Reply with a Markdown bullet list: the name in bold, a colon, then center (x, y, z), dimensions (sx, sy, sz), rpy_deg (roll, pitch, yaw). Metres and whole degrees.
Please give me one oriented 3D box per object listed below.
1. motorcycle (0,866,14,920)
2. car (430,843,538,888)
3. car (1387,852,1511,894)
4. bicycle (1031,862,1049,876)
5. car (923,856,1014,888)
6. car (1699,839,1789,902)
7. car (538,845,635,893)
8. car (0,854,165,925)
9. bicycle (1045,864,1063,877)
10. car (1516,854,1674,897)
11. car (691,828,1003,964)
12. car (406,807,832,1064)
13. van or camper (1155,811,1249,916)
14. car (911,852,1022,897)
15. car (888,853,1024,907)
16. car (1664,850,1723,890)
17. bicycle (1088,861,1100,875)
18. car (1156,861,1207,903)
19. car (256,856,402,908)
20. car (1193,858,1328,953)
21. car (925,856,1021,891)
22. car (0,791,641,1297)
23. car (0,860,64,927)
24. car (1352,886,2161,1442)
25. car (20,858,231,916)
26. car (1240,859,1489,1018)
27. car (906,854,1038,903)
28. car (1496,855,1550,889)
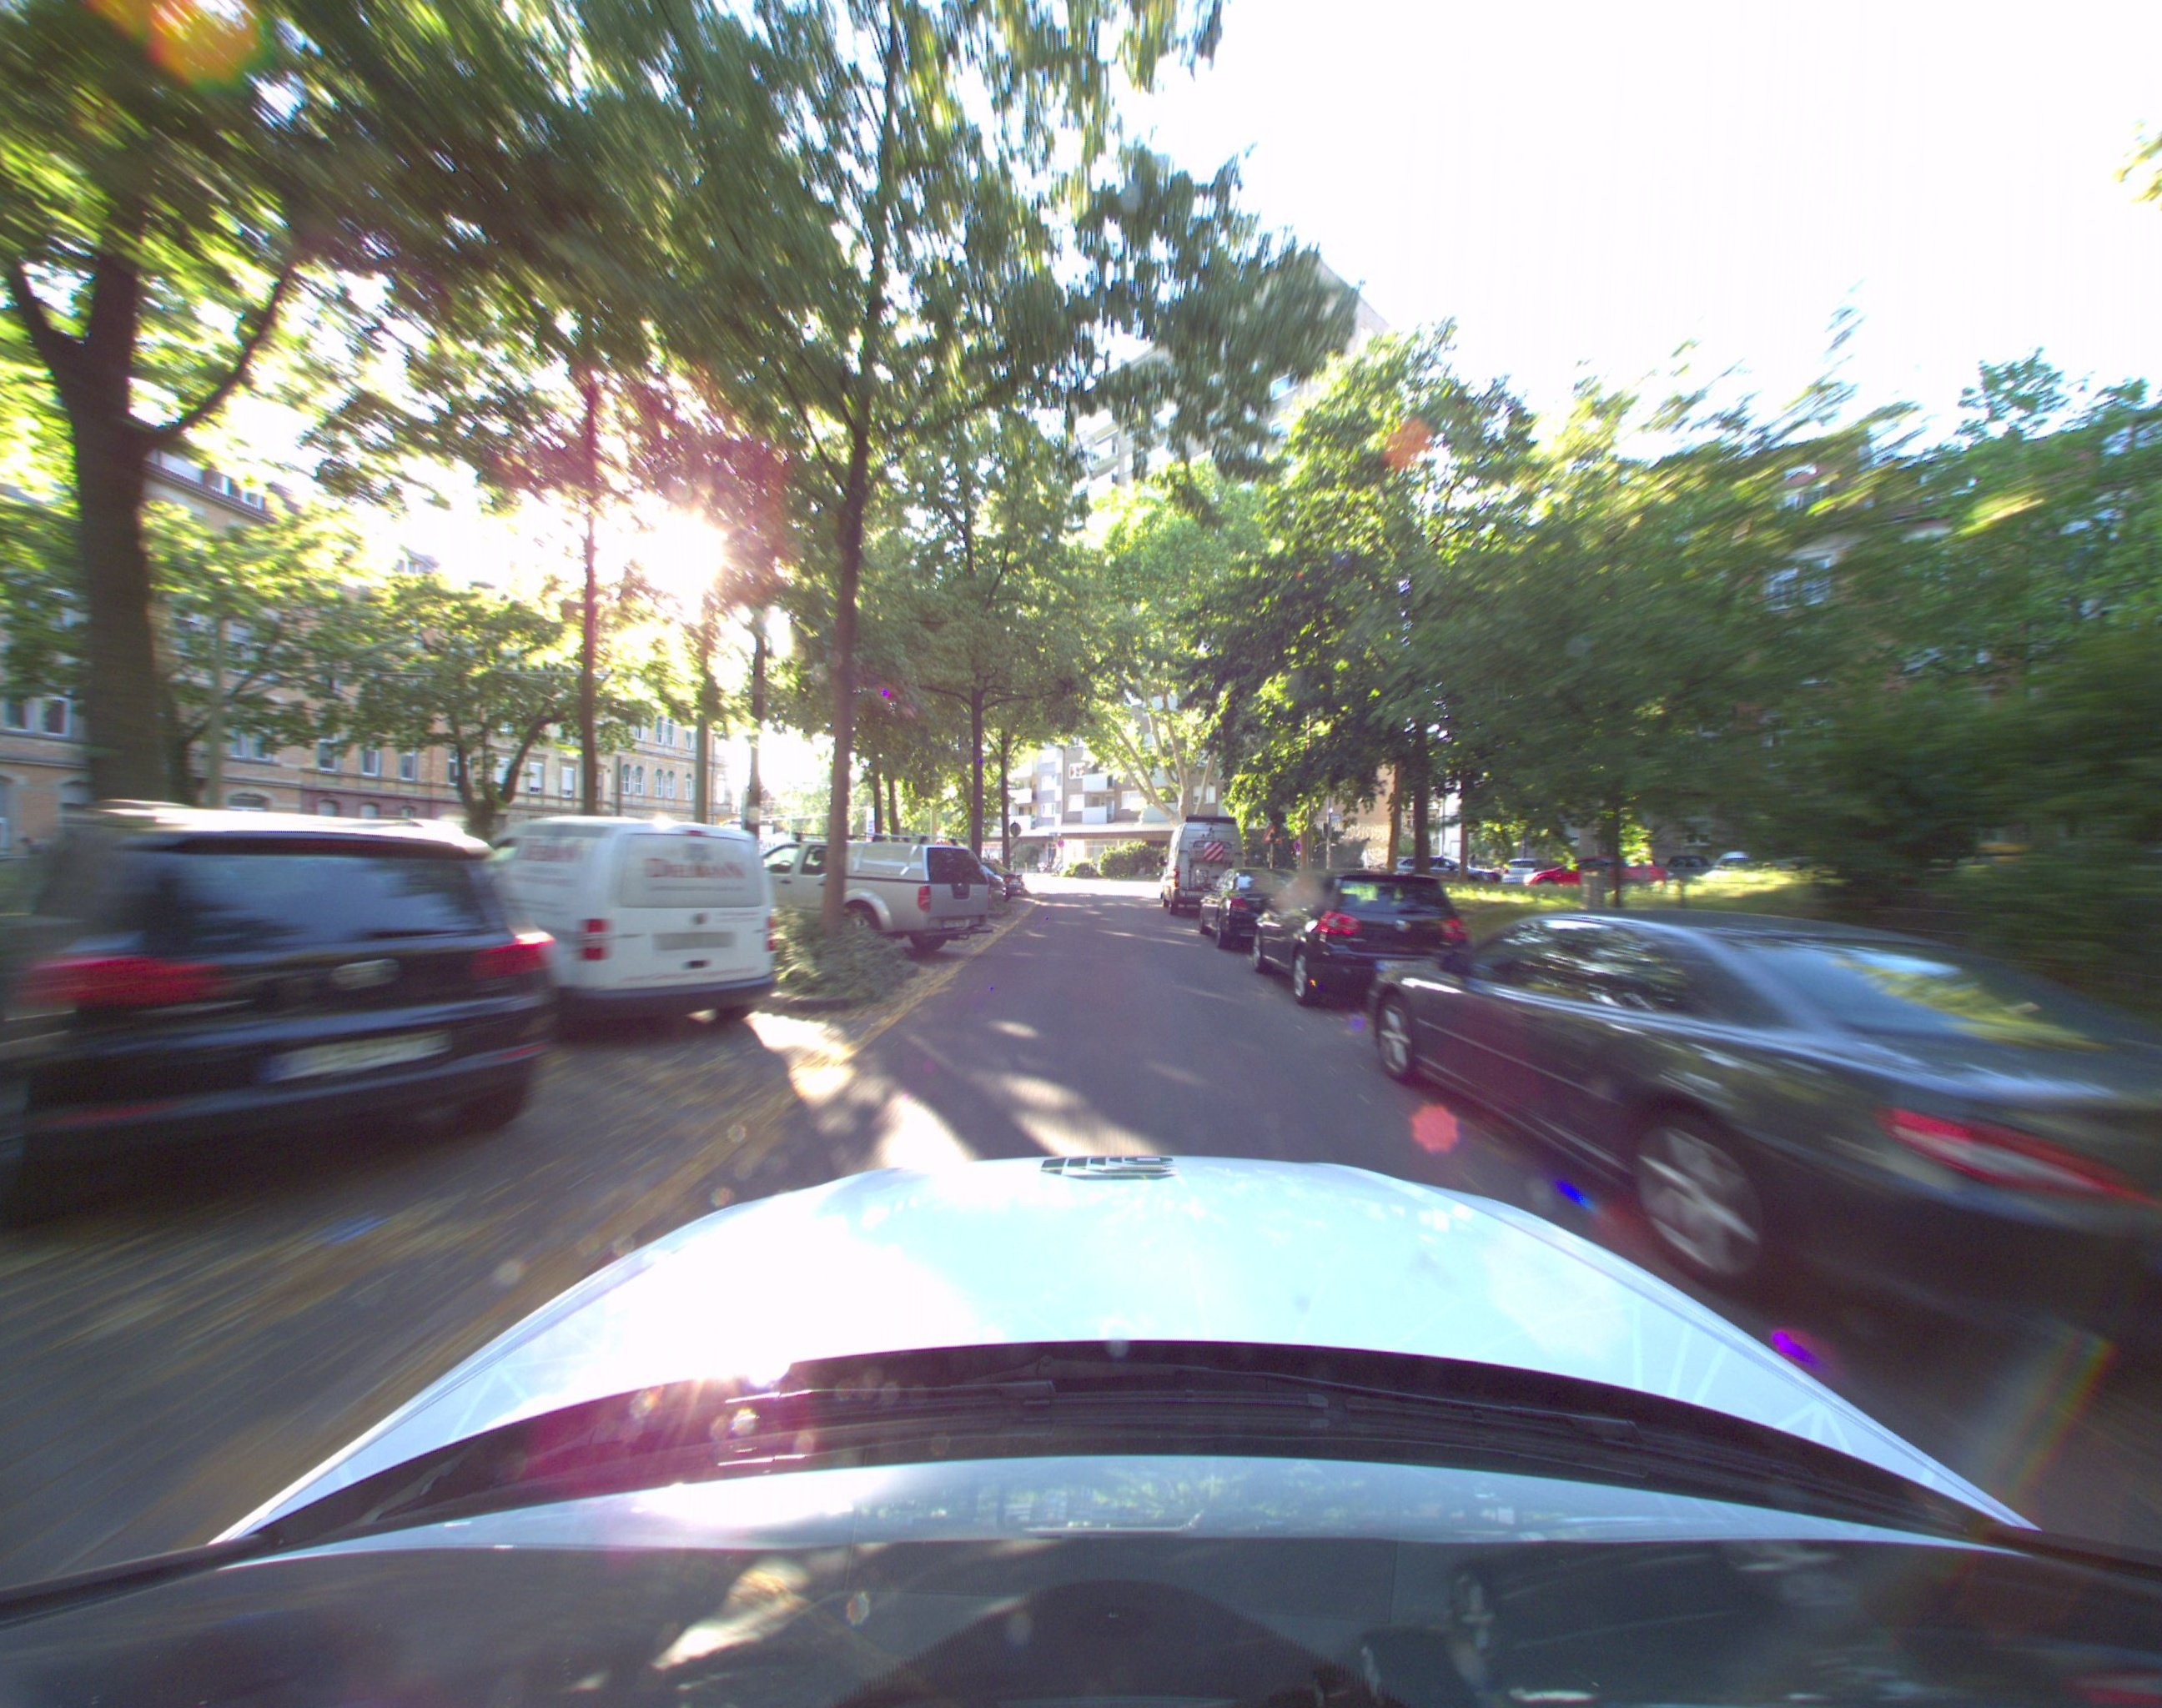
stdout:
- **motorcycle**: center (-19.902, 0.688, 14.243), dimensions (1.707, 0.955, 1.025), rpy_deg (0, 0, 20)
- **car**: center (-30.233, 0.523, 41.463), dimensions (1.847, 2.063, 4.996), rpy_deg (3, 1, -2)
- **car**: center (14.870, 0.759, 33.079), dimensions (1.752, 1.552, 4.224), rpy_deg (5, -4, -44)
- **bicycle**: center (-3.180, 1.141, 63.209), dimensions (0.641, 1.022, 2.070), rpy_deg (0, 0, -25)
- **car**: center (-5.522, 0.887, 40.222), dimensions (3.998, 1.406, 1.781), rpy_deg (2, -1, 14)
- **car**: center (20.738, 0.552, 25.411), dimensions (4.426, 1.708, 1.712), rpy_deg (5, -4, -45)
- **car**: center (-21.704, 0.637, 35.718), dimensions (3.949, 2.014, 2.013), rpy_deg (0, 0, 31)
- **car**: center (-21.431, 0.690, 17.387), dimensions (3.691, 1.381, 1.718), rpy_deg (0, 0, 29)
- **bicycle**: center (-2.043, 1.253, 61.591), dimensions (0.546, 0.904, 1.717), rpy_deg (0, 0, -34)
- **car**: center (18.582, 0.780, 29.587), dimensions (4.587, 1.449, 1.754), rpy_deg (-1, -3, 43)
- **car**: center (-3.981, 0.597, 13.694), dimensions (4.940, 1.781, 1.999), rpy_deg (3, 0, 28)
- **car**: center (-4.486, 0.539, 7.709), dimensions (4.107, 1.781, 1.895), rpy_deg (3, 0, 36)
- **van or camper**: center (3.489, 0.259, 24.594), dimensions (2.076, 2.762, 5.846), rpy_deg (0, 0, 1)
- **car**: center (-4.452, 0.778, 31.725), dimensions (3.837, 1.494, 1.842), rpy_deg (3, 0, 26)
- **car**: center (-3.987, 0.798, 25.947), dimensions (3.825, 1.439, 1.842), rpy_deg (3, 0, 25)
- **car**: center (25.887, 0.642, 34.529), dimensions (1.884, 1.618, 3.801), rpy_deg (0, 0, 36)
- **bicycle**: center (0.969, 1.051, 60.971), dimensions (0.351, 1.038, 1.041), rpy_deg (0, 0, -35)
- **car**: center (3.833, 1.030, 31.515), dimensions (1.673, 1.446, 3.876), rpy_deg (3, 0, 4)
- **car**: center (-21.372, 0.735, 23.158), dimensions (3.693, 1.381, 1.737), rpy_deg (0, 0, 24)
- **car**: center (3.257, 0.862, 15.629), dimensions (1.674, 1.526, 4.490), rpy_deg (0, 0, 1)
- **car**: center (-4.940, 0.881, 37.396), dimensions (3.943, 1.365, 1.782), rpy_deg (3, 0, 15)
- **car**: center (-4.621, 0.560, 4.554), dimensions (4.108, 1.644, 1.927), rpy_deg (3, 0, 32)
- **car**: center (-29.866, 1.065, 21.220), dimensions (1.789, 1.775, 3.996), rpy_deg (0, 0, -2)
- **car**: center (3.001, 0.894, 4.286), dimensions (1.675, 1.283, 4.285), rpy_deg (0, 0, -1)
- **car**: center (-29.884, 0.964, 25.693), dimensions (1.846, 1.518, 4.056), rpy_deg (3, 1, -2)
- **car**: center (3.197, 0.837, 10.113), dimensions (1.674, 1.526, 4.288), rpy_deg (0, 0, 1)
- **car**: center (-3.824, 0.828, 28.501), dimensions (4.149, 1.439, 1.842), rpy_deg (3, 0, 25)
- **car**: center (21.540, 0.828, 39.597), dimensions (1.712, 1.473, 4.026), rpy_deg (0, 1, 37)
